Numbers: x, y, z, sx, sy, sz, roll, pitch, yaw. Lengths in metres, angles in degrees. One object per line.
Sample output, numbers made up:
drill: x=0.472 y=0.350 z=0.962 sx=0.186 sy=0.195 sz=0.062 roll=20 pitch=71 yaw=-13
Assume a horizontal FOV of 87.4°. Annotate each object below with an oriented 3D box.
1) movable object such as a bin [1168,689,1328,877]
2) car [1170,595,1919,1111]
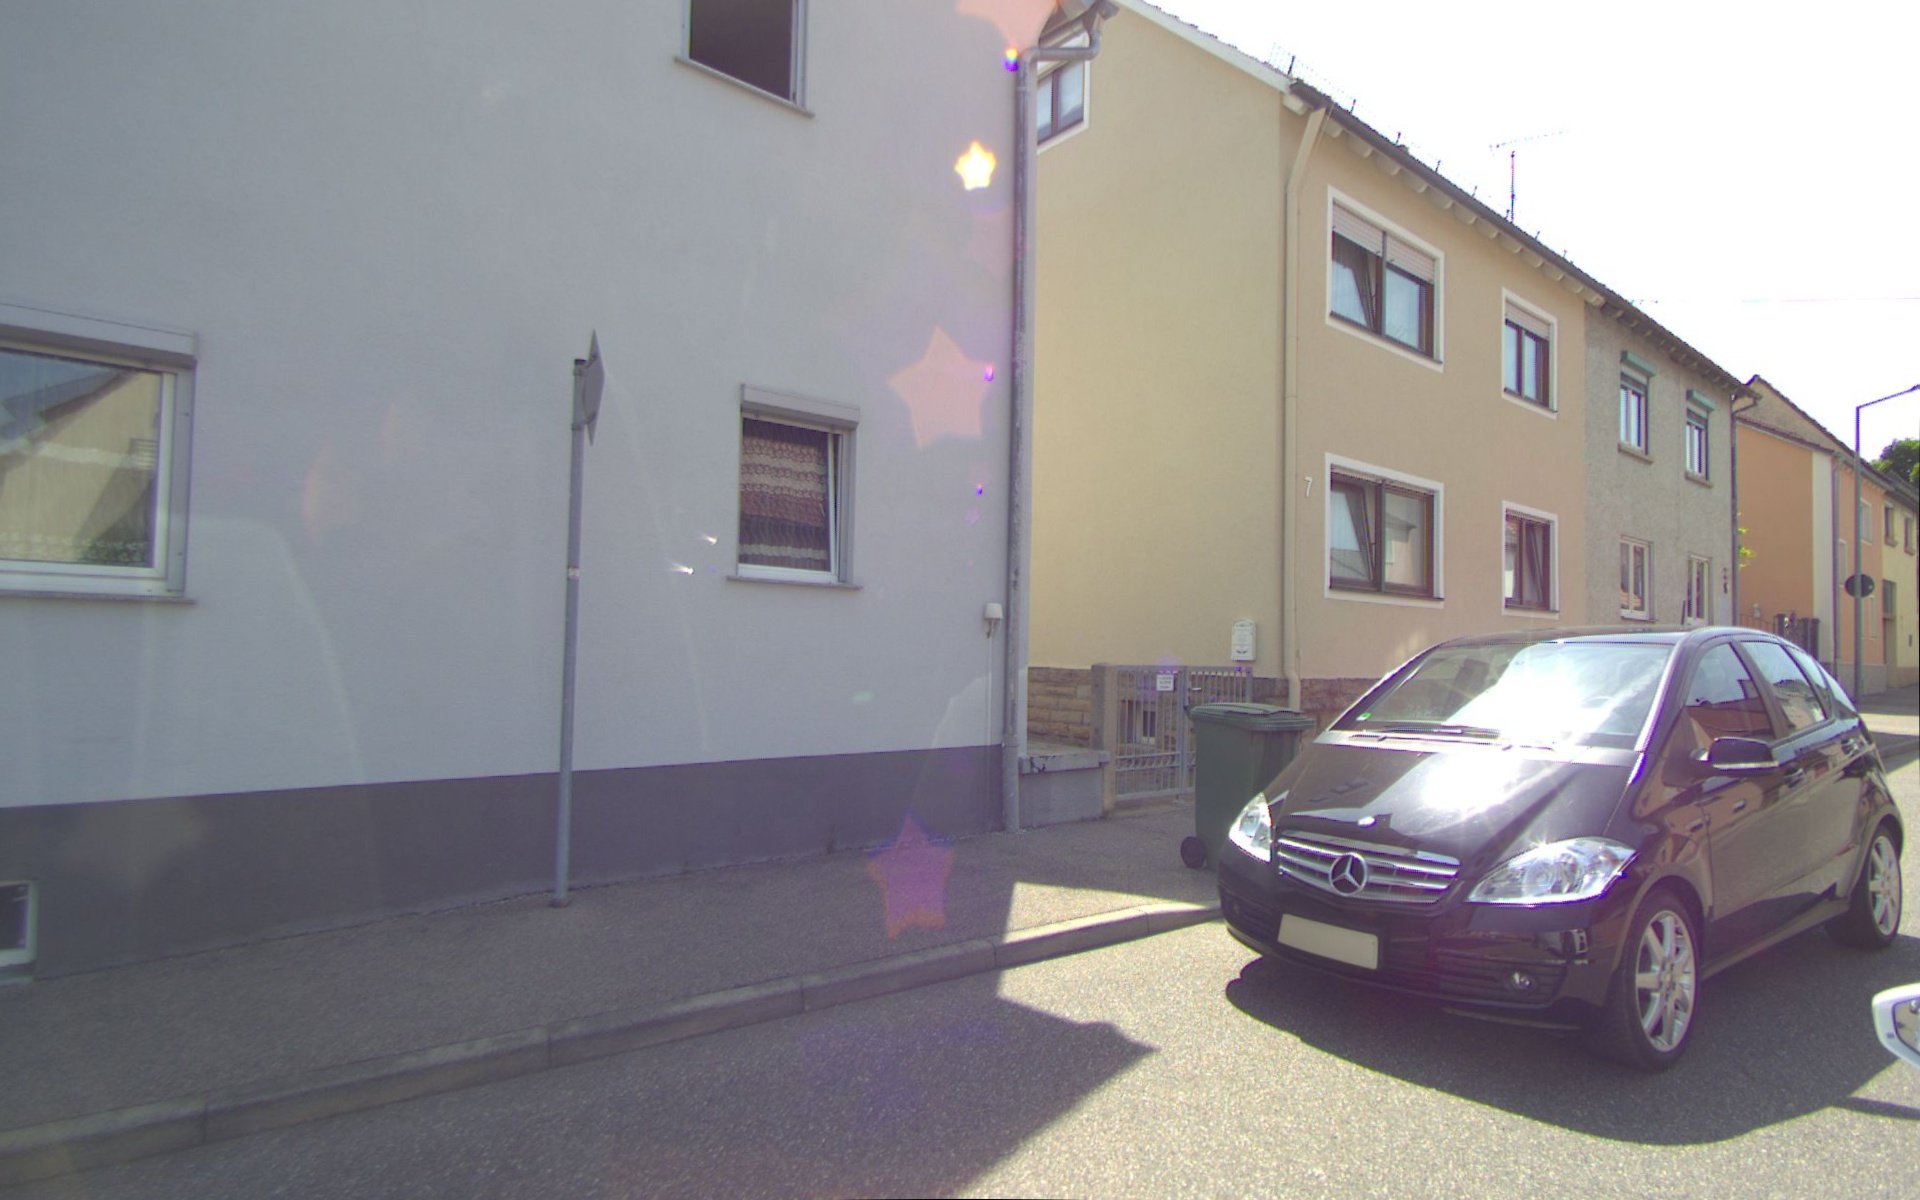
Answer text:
movable object such as a bin: x=1.872 y=1.150 z=6.565 sx=0.672 sy=1.074 sz=0.749 roll=2 pitch=-2 yaw=-32
car: x=3.108 y=0.867 z=4.992 sx=4.029 sy=1.576 sz=1.788 roll=2 pitch=-3 yaw=-35
